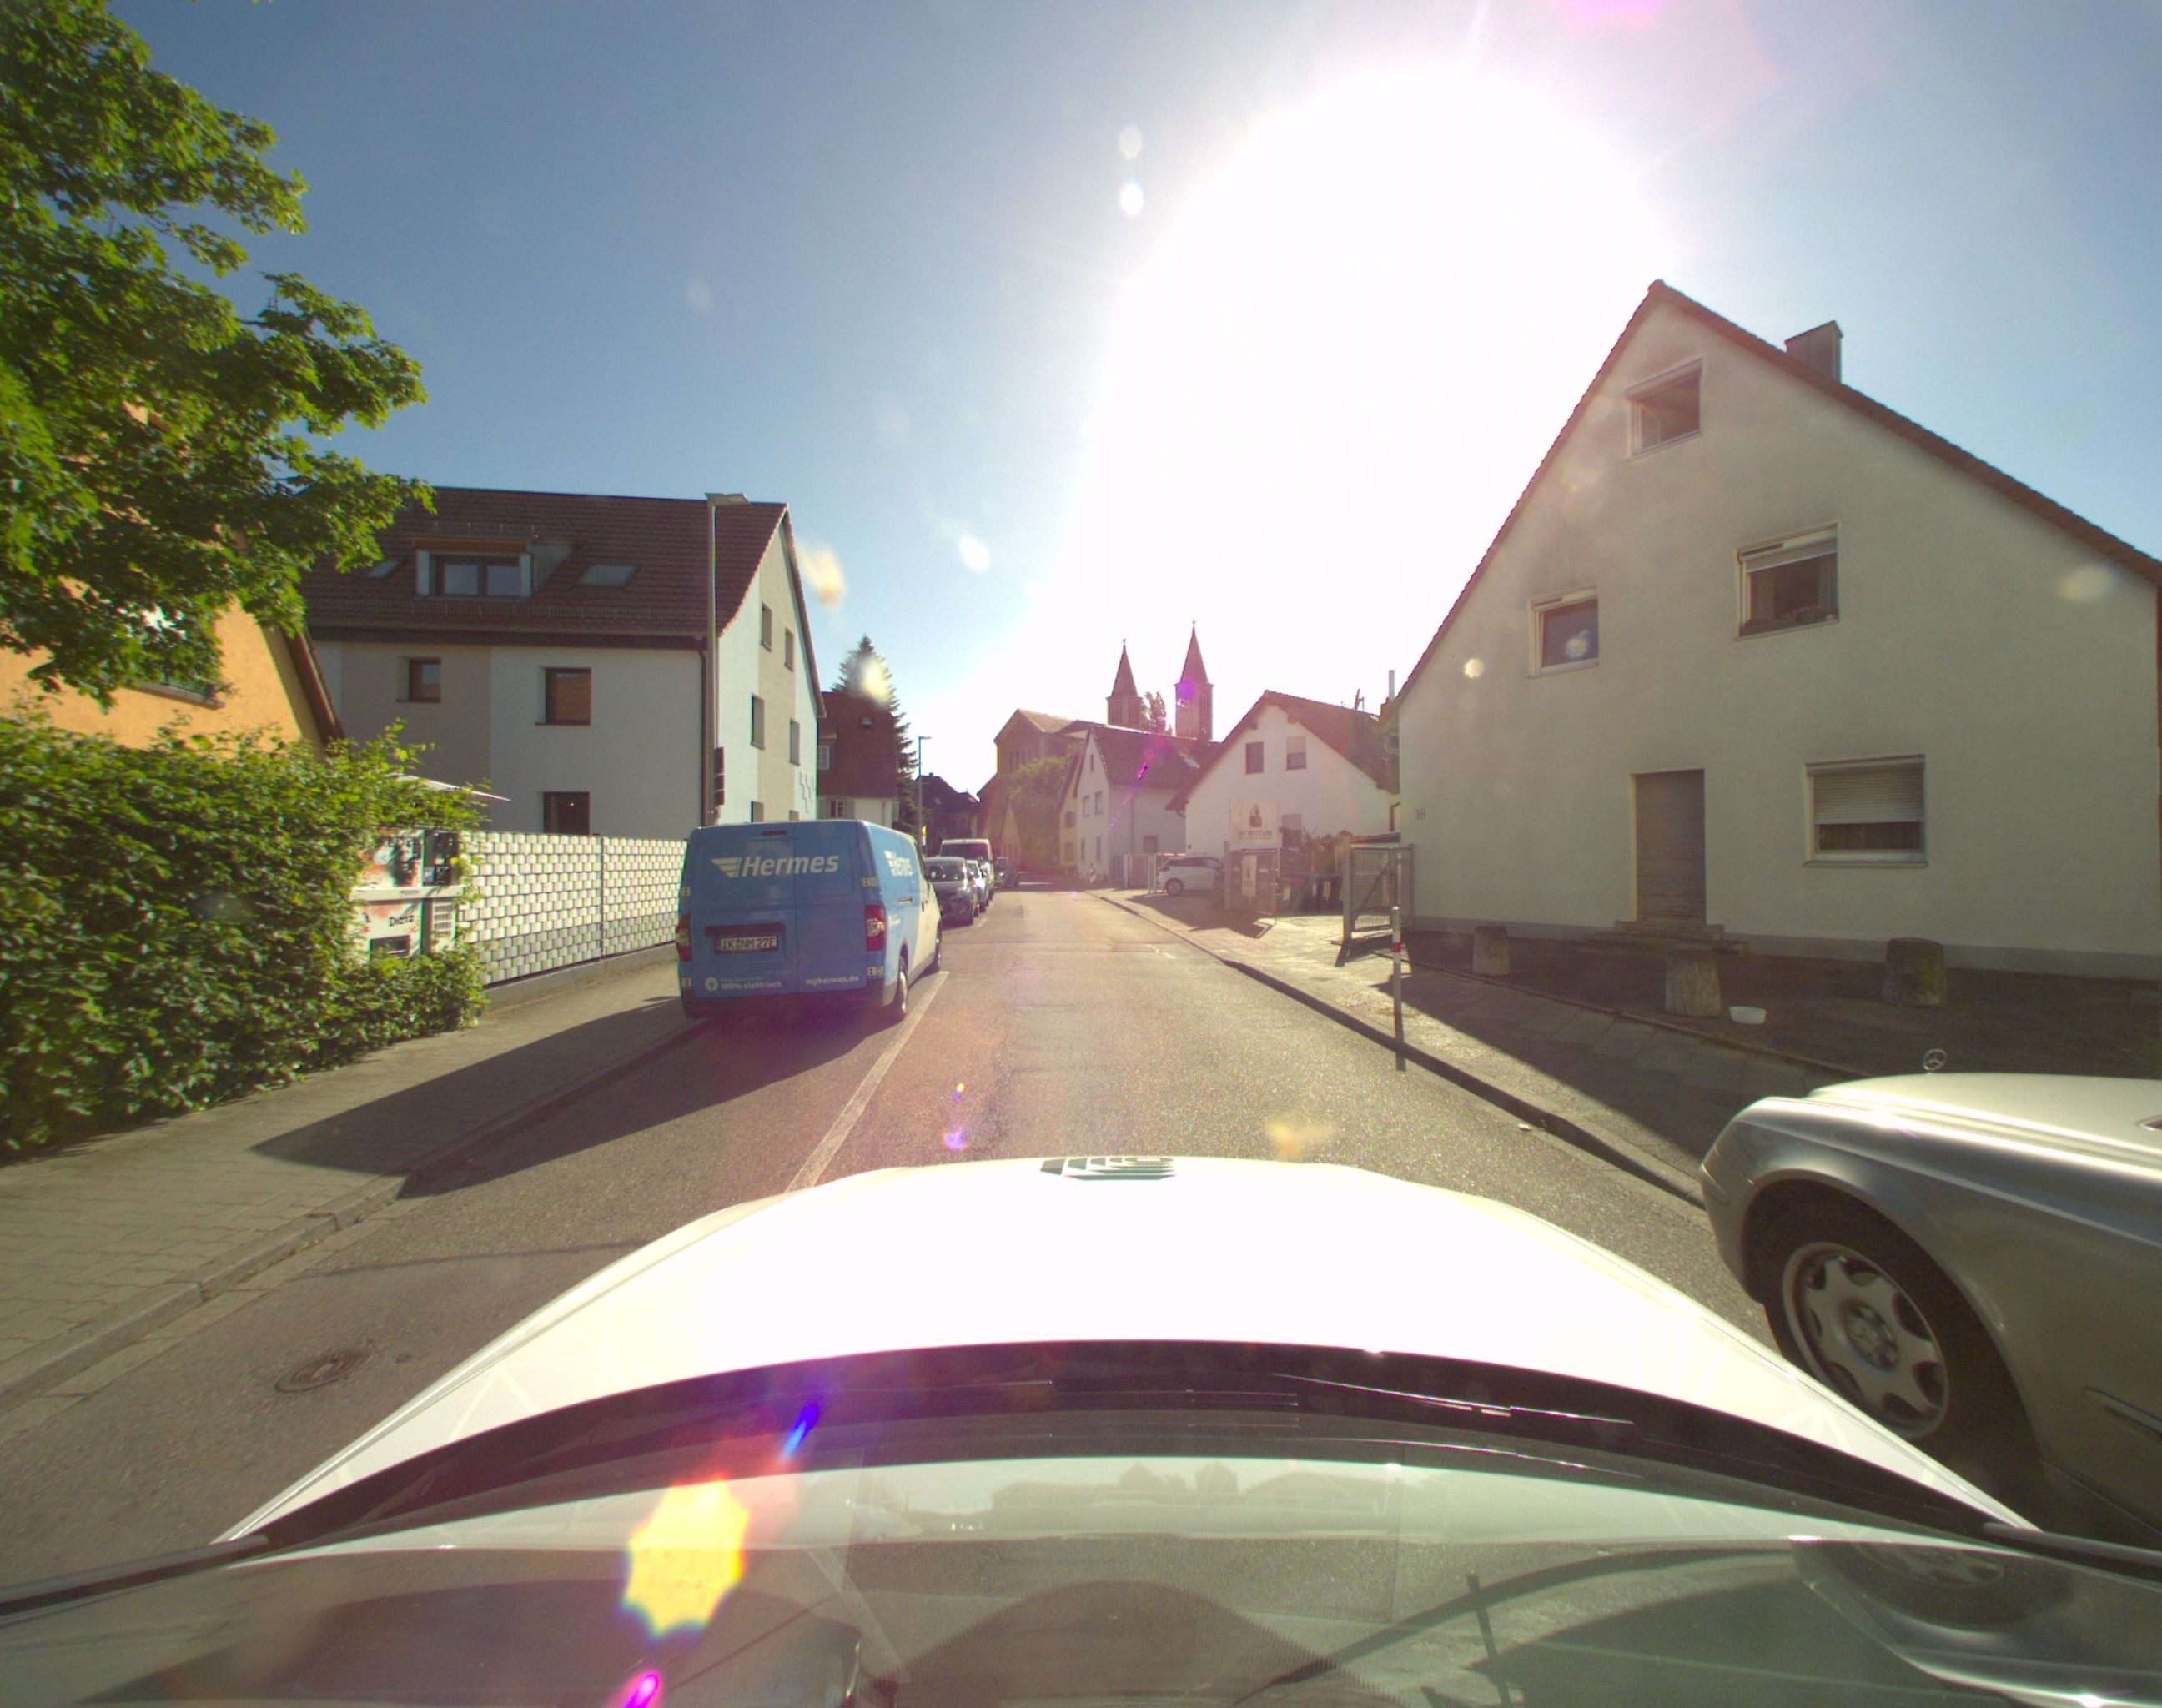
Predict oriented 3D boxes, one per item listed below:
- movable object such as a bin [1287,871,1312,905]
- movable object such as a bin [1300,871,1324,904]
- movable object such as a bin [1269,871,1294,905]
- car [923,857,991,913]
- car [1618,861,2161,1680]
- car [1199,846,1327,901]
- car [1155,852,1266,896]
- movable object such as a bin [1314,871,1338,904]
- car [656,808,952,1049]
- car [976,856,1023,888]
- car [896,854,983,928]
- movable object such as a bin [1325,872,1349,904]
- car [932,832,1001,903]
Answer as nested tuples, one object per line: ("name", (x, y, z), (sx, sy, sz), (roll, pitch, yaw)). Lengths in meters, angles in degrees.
("movable object such as a bin", (6.079, 0.945, 22.692), (0.518, 0.923, 0.418), (3, -2, -34))
("movable object such as a bin", (6.522, 0.953, 22.996), (0.518, 0.923, 0.418), (3, -2, -34))
("movable object such as a bin", (5.519, 0.929, 22.377), (0.518, 0.923, 0.418), (3, -2, -34))
("car", (-3.656, 0.875, 24.690), (1.709, 1.504, 4.228), (-1, 0, -5))
("car", (2.888, 0.768, 0.661), (1.806, 1.475, 4.658), (-1, 0, -1))
("car", (6.140, 0.595, 27.355), (4.064, 1.688, 1.892), (-1, 0, -33))
("car", (4.751, 0.729, 30.324), (3.895, 1.492, 1.849), (-1, -1, 4))
("movable object such as a bin", (7.022, 0.959, 23.326), (0.518, 0.923, 0.418), (3, -2, -34))
("car", (-2.658, 0.602, 9.201), (1.899, 1.917, 5.062), (-1, 0, -4))
("car", (-4.002, 0.865, 40.385), (1.565, 1.546, 2.973), (-1, 0, 9))
("car", (-3.380, 0.822, 20.077), (1.712, 1.598, 3.918), (-1, 0, -5))
("movable object such as a bin", (7.504, 0.985, 23.851), (0.518, 0.923, 0.418), (3, -2, -34))
("car", (-4.339, 0.476, 31.740), (2.193, 2.390, 6.054), (-2, 0, -5))
